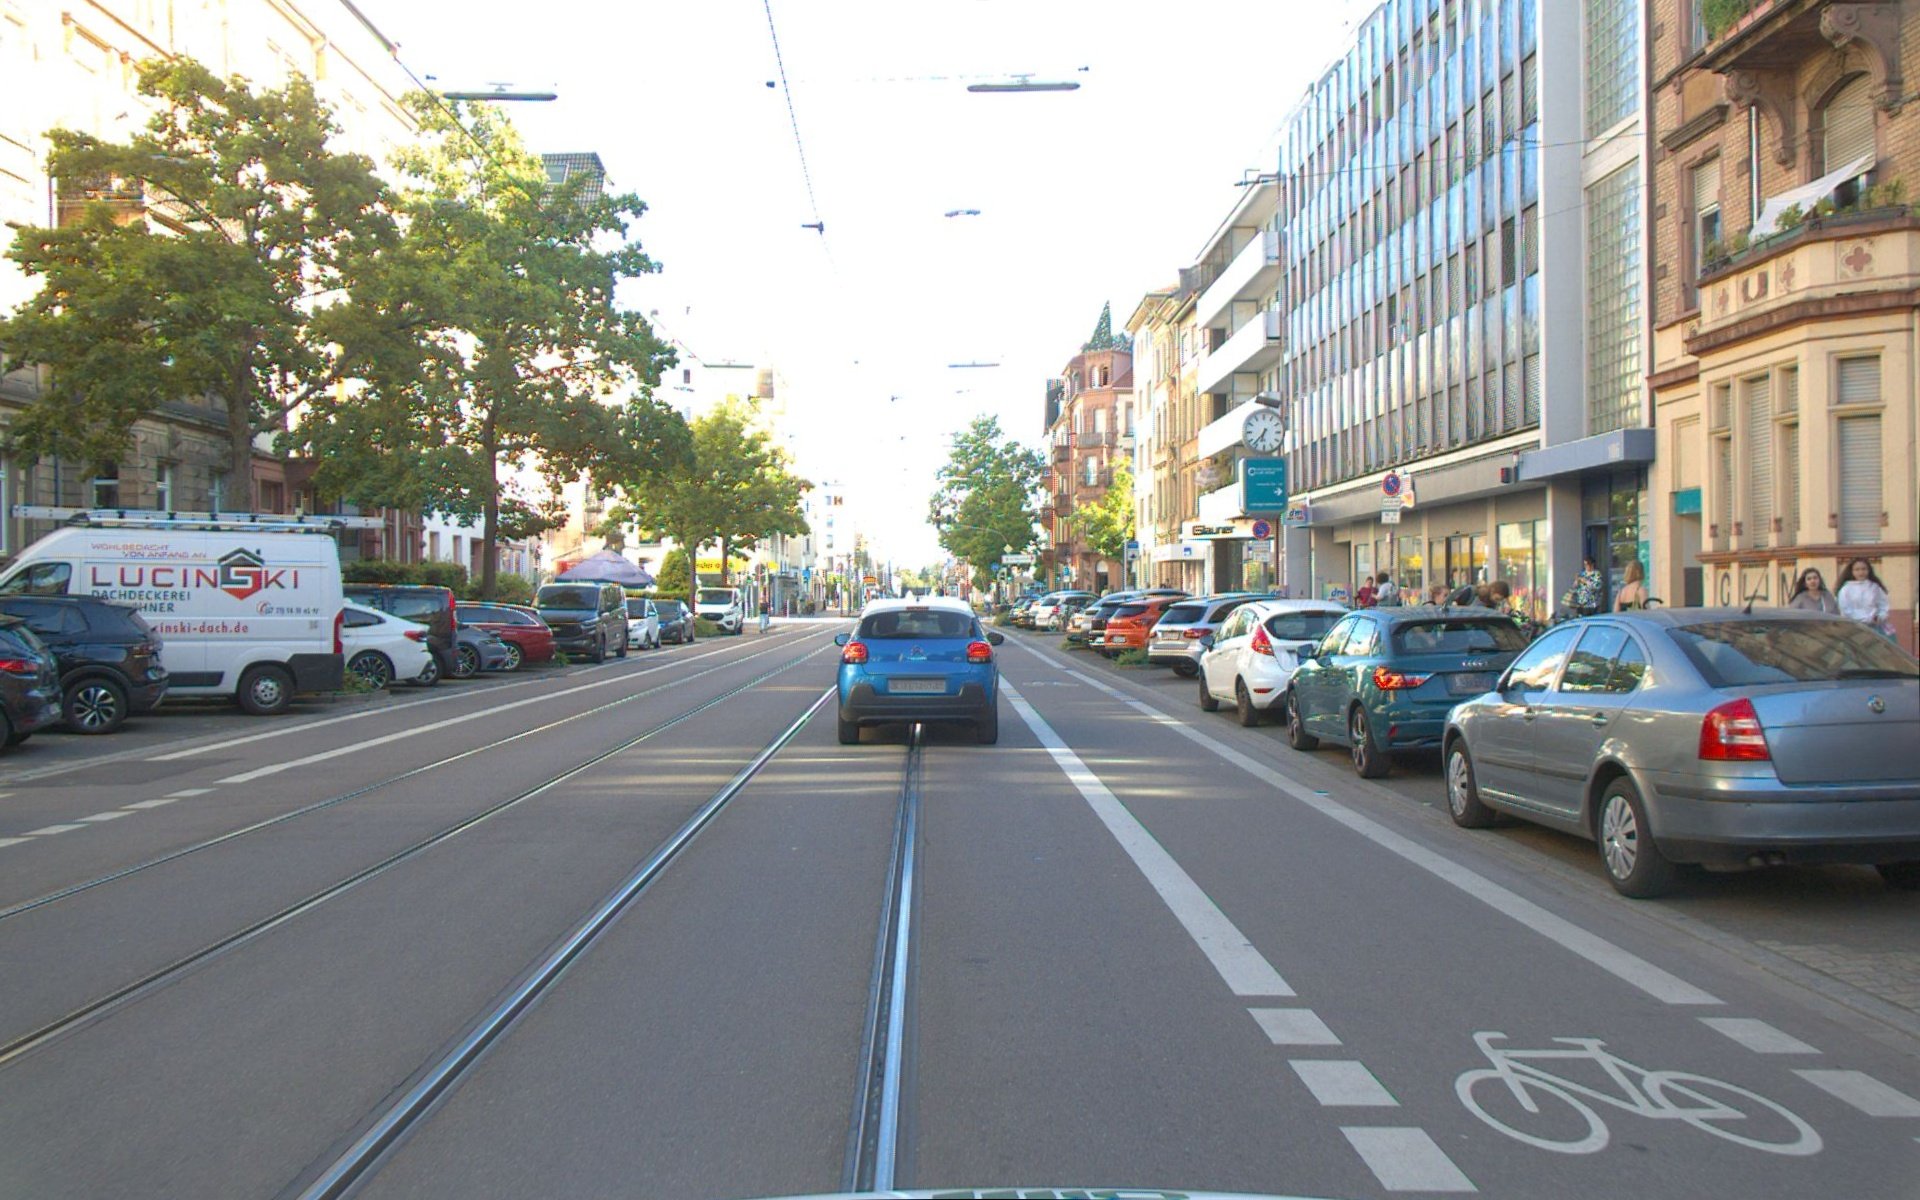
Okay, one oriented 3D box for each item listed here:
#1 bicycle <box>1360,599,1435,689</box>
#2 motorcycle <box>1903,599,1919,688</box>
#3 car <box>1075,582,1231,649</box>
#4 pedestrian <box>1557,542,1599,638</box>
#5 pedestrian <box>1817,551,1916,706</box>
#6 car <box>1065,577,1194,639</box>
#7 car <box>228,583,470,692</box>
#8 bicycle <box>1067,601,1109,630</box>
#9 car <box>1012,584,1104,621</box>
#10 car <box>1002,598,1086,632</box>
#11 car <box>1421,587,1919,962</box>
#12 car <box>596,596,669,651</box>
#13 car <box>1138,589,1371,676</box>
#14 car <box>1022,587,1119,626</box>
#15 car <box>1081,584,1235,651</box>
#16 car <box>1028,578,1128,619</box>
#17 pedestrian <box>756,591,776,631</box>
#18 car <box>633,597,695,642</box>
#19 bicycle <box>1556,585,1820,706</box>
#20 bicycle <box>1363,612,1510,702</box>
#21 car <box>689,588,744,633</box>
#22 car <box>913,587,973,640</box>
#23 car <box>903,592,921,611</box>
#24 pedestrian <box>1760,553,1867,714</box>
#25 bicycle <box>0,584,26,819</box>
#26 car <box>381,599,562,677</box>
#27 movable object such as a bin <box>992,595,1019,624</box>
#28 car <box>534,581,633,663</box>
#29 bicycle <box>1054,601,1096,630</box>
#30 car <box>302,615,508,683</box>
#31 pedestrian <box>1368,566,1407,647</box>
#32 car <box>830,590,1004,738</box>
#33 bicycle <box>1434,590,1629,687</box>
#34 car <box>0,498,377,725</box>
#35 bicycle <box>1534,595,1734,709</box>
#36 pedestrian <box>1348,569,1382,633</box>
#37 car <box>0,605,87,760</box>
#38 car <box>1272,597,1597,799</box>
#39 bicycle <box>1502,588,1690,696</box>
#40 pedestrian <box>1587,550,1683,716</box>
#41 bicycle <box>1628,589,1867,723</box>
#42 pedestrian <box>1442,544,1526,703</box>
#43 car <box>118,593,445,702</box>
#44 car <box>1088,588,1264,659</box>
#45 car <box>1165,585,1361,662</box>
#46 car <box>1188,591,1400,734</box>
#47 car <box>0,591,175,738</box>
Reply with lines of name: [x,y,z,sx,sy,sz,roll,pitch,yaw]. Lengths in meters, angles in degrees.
bicycle: [5.956,0.587,22.576,0.679,1.206,1.238,0,0,-1]
motorcycle: [11.329,0.487,18.088,0.496,1.009,2.518,-4,0,-1]
car: [5.084,0.406,43.471,3.686,1.681,2.023,0,0,-34]
pedestrian: [11.898,-0.189,31.853,0.709,1.837,0.722,0,-1,16]
pedestrian: [9.728,0.299,17.766,0.697,1.635,0.654,0,-1,-2]
car: [4.746,0.226,46.153,3.417,1.668,1.662,0,0,-38]
car: [-10.983,0.647,29.758,3.939,1.848,1.698,0,0,-27]
bicycle: [4.823,0.582,62.447,0.549,1.066,1.785,0,0,-36]
car: [4.270,0.112,72.230,3.601,1.601,1.850,0,0,-21]
car: [4.009,0.703,78.783,3.601,1.561,1.778,0,0,-21]
car: [4.255,0.765,9.543,1.835,1.624,4.718,0,0,-1]
car: [-10.273,0.719,52.128,1.713,1.646,4.407,0,0,-4]
car: [5.527,0.582,30.817,4.394,1.534,1.520,0,0,-31]
car: [4.613,0.260,69.094,3.601,1.601,1.850,0,0,-21]
car: [4.862,0.424,40.500,3.409,1.582,1.804,0,0,-33]
car: [4.741,-0.035,66.181,3.615,1.601,1.842,0,0,-30]
pedestrian: [-8.651,0.491,73.691,0.720,1.756,0.623,0,-1,-25]
car: [-10.291,0.663,57.686,1.713,1.513,4.038,0,0,-4]
bicycle: [7.609,0.470,17.341,2.487,1.243,0.663,0,0,-2]
bicycle: [6.874,0.804,23.859,1.978,1.243,0.664,0,0,22]
car: [-10.459,0.436,71.228,1.794,1.880,4.213,0,0,-1]
car: [-0.542,0.425,52.454,1.835,1.624,3.999,0,0,-1]
car: [-3.764,0.103,130.592,1.394,1.457,3.138,0,0,-1]
pedestrian: [9.022,0.351,17.502,0.697,1.635,0.654,-3,0,-2]
bicycle: [-7.309,0.733,11.307,0.666,1.708,2.096,0,0,-1]
car: [-10.704,0.808,36.235,3.672,1.651,1.777,0,0,-22]
movable object such as a bin: [2.407,0.519,88.048,1.366,1.509,1.655,0,0,-1]
car: [-9.749,0.540,43.161,1.713,2.008,5.236,0,0,-4]
bicycle: [4.311,0.589,62.079,0.549,1.066,1.785,0,0,-36]
car: [-11.047,0.940,32.966,3.751,1.287,1.503,0,0,-27]
pedestrian: [9.522,0.144,36.845,0.678,1.787,0.678,0,-1,-1]
car: [-0.463,0.645,18.239,1.726,1.466,3.556,0,0,-1]
bicycle: [7.410,0.491,21.503,2.309,1.243,0.664,0,0,2]
car: [-10.748,0.149,22.167,5.316,2.797,1.787,0,0,-31]
bicycle: [7.521,0.575,18.509,1.978,1.243,0.663,0,0,-2]
pedestrian: [10.215,0.030,41.726,0.678,1.615,0.678,0,-1,-1]
car: [-11.125,0.809,16.557,3.924,1.515,1.797,0,0,-18]
car: [4.217,0.801,15.375,1.835,1.624,3.999,0,0,-1]
bicycle: [7.475,0.489,19.486,1.978,1.243,0.663,0,0,-2]
pedestrian: [6.781,0.329,16.638,0.697,1.635,0.654,0,-1,-2]
bicycle: [7.624,0.530,16.059,2.015,1.243,0.663,-1,0,-3]
pedestrian: [5.718,0.251,18.083,0.697,1.701,0.654,0,-1,-2]
car: [-10.977,0.722,26.924,4.713,1.646,1.692,0,0,-34]
car: [4.971,0.524,37.925,3.686,1.547,1.945,0,0,-34]
car: [6.268,0.472,34.164,3.735,1.513,1.819,0,0,-31]
car: [4.098,0.724,20.911,1.835,1.624,3.999,0,0,-1]
car: [-11.319,0.726,19.225,3.939,1.646,1.698,0,0,-27]
